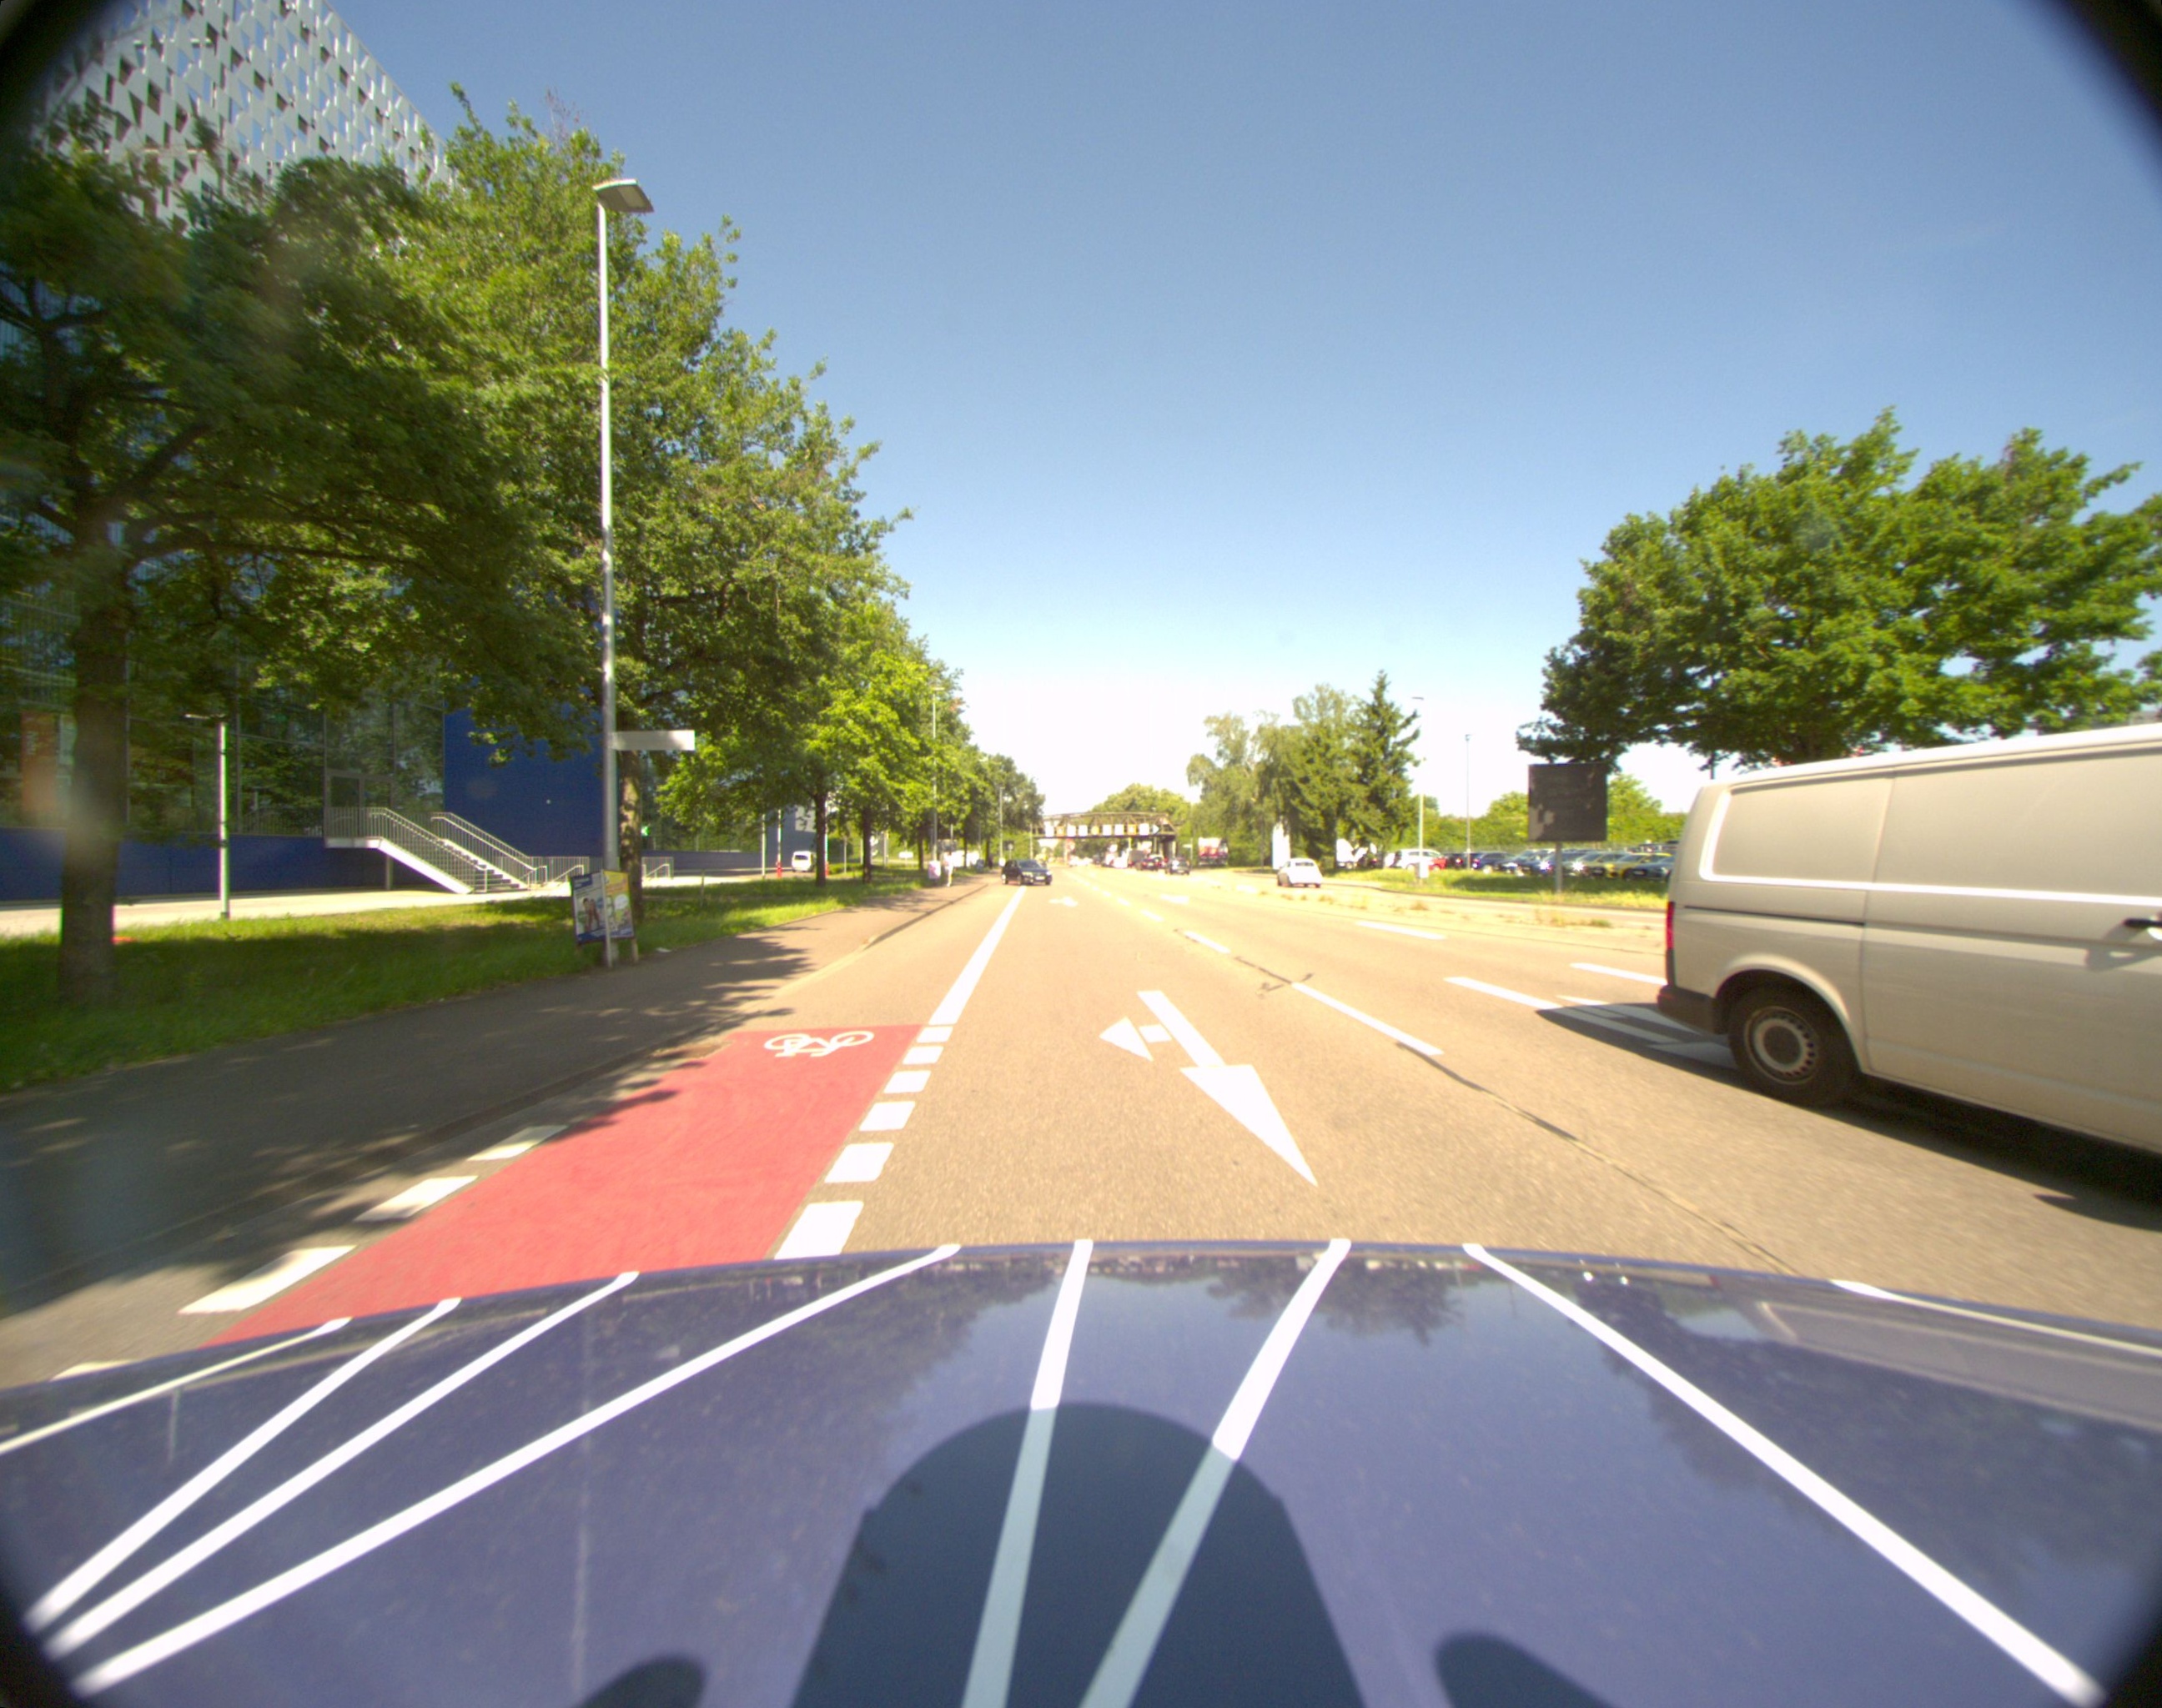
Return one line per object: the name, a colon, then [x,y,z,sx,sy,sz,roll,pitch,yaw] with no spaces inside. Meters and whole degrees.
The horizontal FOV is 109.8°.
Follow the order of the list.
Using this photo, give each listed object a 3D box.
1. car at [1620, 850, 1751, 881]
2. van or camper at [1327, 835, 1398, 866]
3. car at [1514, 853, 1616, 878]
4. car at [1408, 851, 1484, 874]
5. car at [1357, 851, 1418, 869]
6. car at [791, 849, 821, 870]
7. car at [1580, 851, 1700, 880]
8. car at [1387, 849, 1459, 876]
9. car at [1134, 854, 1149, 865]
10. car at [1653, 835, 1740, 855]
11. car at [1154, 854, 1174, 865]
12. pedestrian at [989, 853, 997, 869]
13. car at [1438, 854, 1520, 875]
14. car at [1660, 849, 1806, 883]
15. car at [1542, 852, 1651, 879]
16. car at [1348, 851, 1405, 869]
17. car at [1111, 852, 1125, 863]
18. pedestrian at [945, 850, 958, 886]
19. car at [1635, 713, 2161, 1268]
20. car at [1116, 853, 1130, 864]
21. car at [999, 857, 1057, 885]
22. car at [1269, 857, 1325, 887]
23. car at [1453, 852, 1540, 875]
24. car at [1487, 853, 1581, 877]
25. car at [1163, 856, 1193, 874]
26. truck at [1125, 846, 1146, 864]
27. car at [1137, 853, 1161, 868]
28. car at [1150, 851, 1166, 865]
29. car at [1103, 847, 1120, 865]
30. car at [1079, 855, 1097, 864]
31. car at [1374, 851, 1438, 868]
car: [26.689,0.494,33.639,4.277,1.343,1.954,0,0,0]
van or camper: [24.554,-0.259,66.282,5.394,2.456,2.000,-2,-1,-5]
car: [26.258,0.603,41.323,4.277,1.343,1.954,0,0,0]
car: [25.110,0.572,52.379,4.277,1.495,1.954,0,0,0]
car: [24.192,0.463,60.023,4.096,1.346,1.744,0,1,3]
car: [-24.166,0.480,66.833,1.912,1.818,4.175,0,0,-12]
car: [26.527,0.536,36.161,4.277,1.343,1.954,0,0,0]
car: [24.551,0.603,54.645,4.277,1.873,1.954,0,0,0]
car: [9.960,0.913,124.899,1.989,1.679,4.287,1,-1,-2]
car: [41.326,-0.584,51.075,4.277,1.343,1.953,0,0,-2]
car: [11.129,0.740,101.868,1.999,1.405,4.680,0,0,-2]
pedestrian: [-8.803,0.736,75.989,0.648,1.594,0.846,0,0,-2]
car: [25.813,0.650,49.377,4.277,1.320,1.954,0,0,0]
car: [26.565,0.491,31.063,4.277,1.343,1.954,0,0,0]
car: [26.281,0.554,38.848,4.277,1.343,1.954,0,0,0]
car: [24.226,0.460,62.380,4.096,1.430,1.744,0,0,3]
car: [5.711,0.563,118.676,1.773,1.485,4.177,1,-1,-2]
pedestrian: [-6.666,0.715,39.108,0.536,1.831,0.727,0,1,-2]
car: [4.806,0.487,2.667,1.887,1.982,4.973,0,0,-4]
car: [6.068,0.719,110.343,1.647,1.485,3.828,1,-1,-3]
car: [-3.067,0.939,43.267,1.914,1.511,4.365,0,0,-24]
car: [11.280,0.925,39.916,1.658,1.455,3.548,1,0,-5]
car: [25.351,0.581,46.474,4.277,1.373,1.954,0,0,0]
car: [26.087,0.599,43.891,4.277,1.343,1.954,0,0,0]
car: [8.079,0.878,63.603,1.788,1.406,3.999,2,0,-3]
truck: [9.378,0.136,131.815,2.348,3.070,7.066,0,0,-6]
car: [7.166,0.706,80.310,1.846,1.455,4.998,2,0,-2]
car: [11.207,0.525,110.722,1.998,2.002,5.347,0,0,2]
car: [5.065,0.320,126.221,1.999,2.788,6.935,2,0,-4]
car: [1.528,1.230,174.265,3.996,2.001,2.001,-2,-1,2]
car: [24.359,0.412,57.056,4.097,1.285,1.743,0,0,0]
